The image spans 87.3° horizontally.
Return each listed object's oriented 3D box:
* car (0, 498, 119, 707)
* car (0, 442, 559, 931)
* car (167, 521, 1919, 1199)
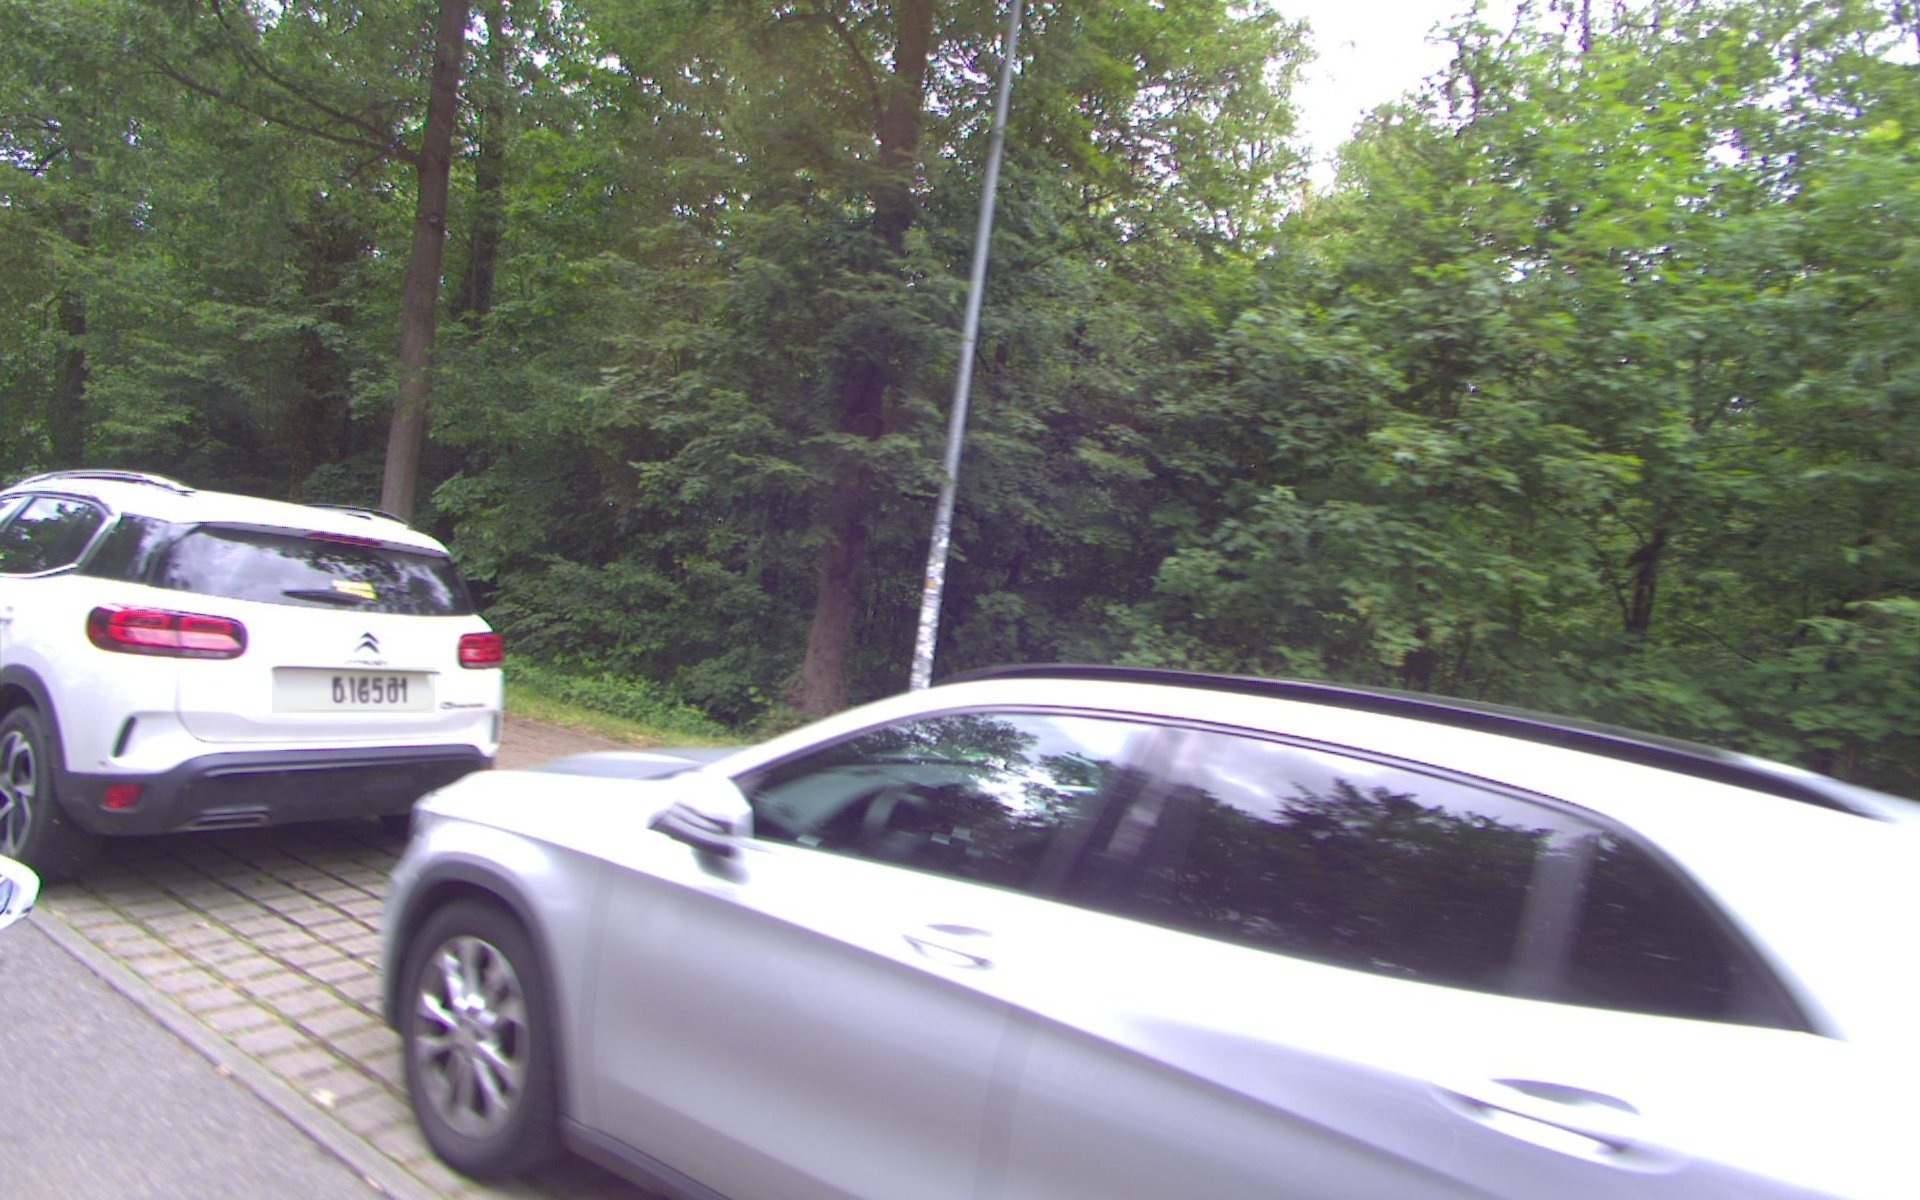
[{"bbox_3d":[-8.971,-0.240,8.160,4.527,1.491,1.740,7,-2,30],"label":"car"},{"bbox_3d":[-4.628,0.143,5.503,4.987,1.662,1.740,7,-2,32],"label":"car"},{"bbox_3d":[-0.104,0.806,2.772,4.692,1.496,1.739,7,-2,33],"label":"car"}]
